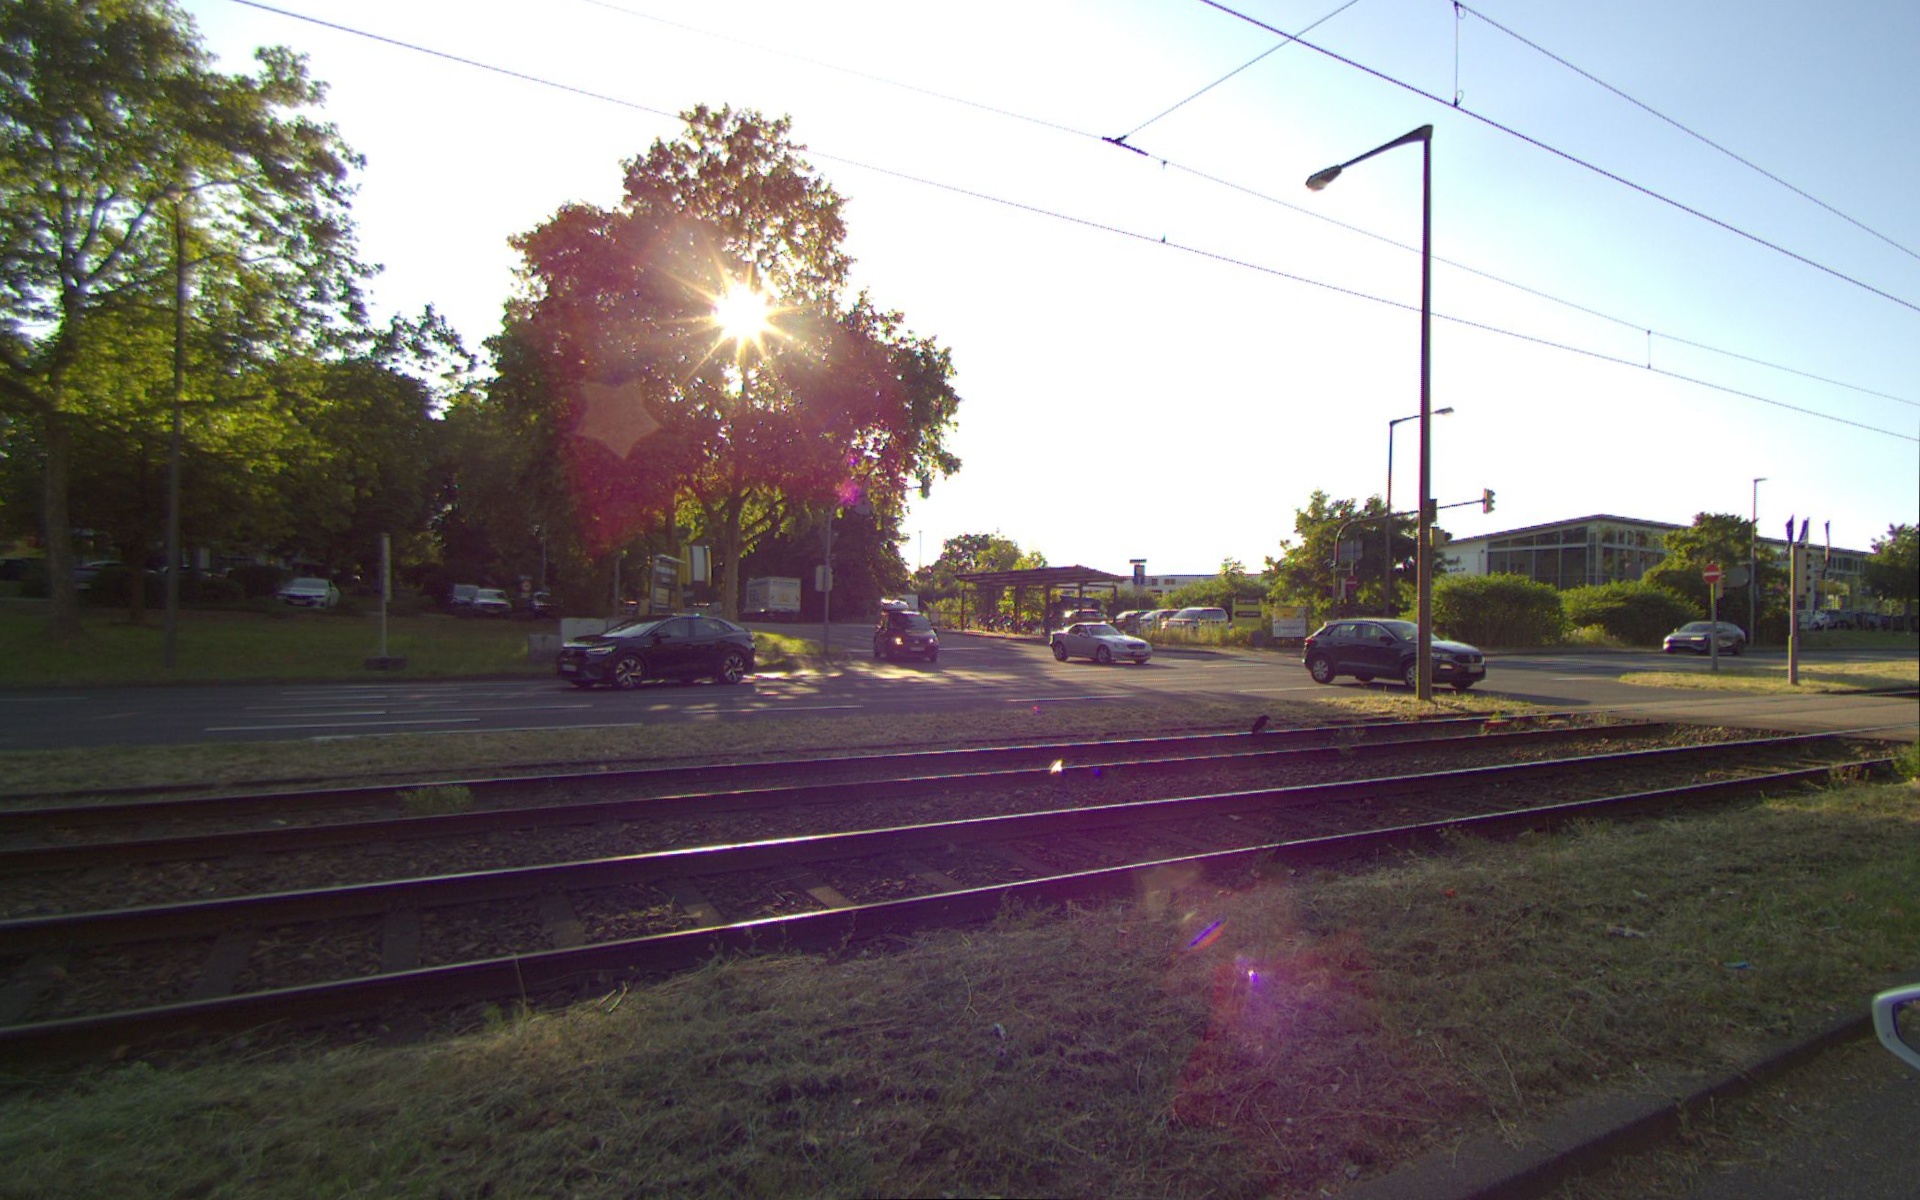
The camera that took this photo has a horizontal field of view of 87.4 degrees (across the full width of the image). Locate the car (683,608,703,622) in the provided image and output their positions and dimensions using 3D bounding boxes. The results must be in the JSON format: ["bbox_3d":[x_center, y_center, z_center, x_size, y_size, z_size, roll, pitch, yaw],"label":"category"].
[{"bbox_3d":[-33.367,1.816,125.446,1.887,1.602,4.036,2,0,-21],"label":"car"}]

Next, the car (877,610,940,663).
[{"bbox_3d":[-1.855,1.219,34.914,1.809,1.656,4.305,1,0,-8],"label":"car"}]

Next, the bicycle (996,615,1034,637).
[{"bbox_3d":[3.080,1.465,56.416,2.004,1.119,0.777,2,0,-30],"label":"bicycle"}]

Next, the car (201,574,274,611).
[{"bbox_3d":[-32.102,-0.326,44.759,1.916,1.530,4.071,2,0,-26],"label":"car"}]

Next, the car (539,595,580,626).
[{"bbox_3d":[-20.429,0.516,51.140,1.604,1.477,3.878,2,0,-27],"label":"car"}]

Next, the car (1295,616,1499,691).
[{"bbox_3d":[9.945,1.169,23.190,1.694,1.581,4.131,1,-2,-31],"label":"car"}]

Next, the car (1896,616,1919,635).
[{"bbox_3d":[88.393,2.375,91.747,1.725,1.642,3.962,1,0,-34],"label":"car"}]

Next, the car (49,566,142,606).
[{"bbox_3d":[-36.076,-0.561,42.023,1.916,1.530,4.071,2,0,-26],"label":"car"}]

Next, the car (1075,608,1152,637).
[{"bbox_3d":[8.831,1.274,57.802,4.123,1.604,1.853,1,0,-30],"label":"car"}]

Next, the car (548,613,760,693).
[{"bbox_3d":[-6.625,1.117,22.150,1.709,1.565,4.319,0,-2,36],"label":"car"}]

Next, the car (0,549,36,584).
[{"bbox_3d":[-53.848,-1.888,56.383,2.274,1.875,5.220,2,0,-36],"label":"car"}]

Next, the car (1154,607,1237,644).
[{"bbox_3d":[12.373,1.318,52.739,4.123,1.846,1.853,1,0,-30],"label":"car"}]

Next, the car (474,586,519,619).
[{"bbox_3d":[-22.924,0.104,49.591,1.916,1.530,4.071,2,0,-26],"label":"car"}]

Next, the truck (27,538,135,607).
[{"bbox_3d":[-44.502,-1.347,51.067,2.468,3.209,6.187,2,0,-26],"label":"truck"}]

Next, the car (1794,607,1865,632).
[{"bbox_3d":[65.190,1.433,75.375,3.940,1.727,1.735,1,0,40],"label":"car"}]

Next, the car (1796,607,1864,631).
[{"bbox_3d":[68.374,1.481,78.987,3.940,1.840,1.735,1,0,40],"label":"car"}]

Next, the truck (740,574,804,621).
[{"bbox_3d":[-15.037,-0.238,79.792,2.782,3.520,8.291,1,0,-27],"label":"truck"}]

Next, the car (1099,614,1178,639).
[{"bbox_3d":[9.950,1.478,55.871,4.123,1.284,1.853,1,0,-30],"label":"car"}]

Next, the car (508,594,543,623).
[{"bbox_3d":[-26.236,0.496,60.734,1.836,1.637,4.036,2,0,-23],"label":"car"}]

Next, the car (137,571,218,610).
[{"bbox_3d":[-33.945,-0.399,43.686,1.916,1.530,4.071,2,0,-26],"label":"car"}]

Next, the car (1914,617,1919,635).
[{"bbox_3d":[91.308,2.492,93.027,1.725,1.642,3.962,1,0,-34],"label":"car"}]

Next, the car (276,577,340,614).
[{"bbox_3d":[-29.421,-0.225,45.441,1.916,1.530,4.071,2,0,-26],"label":"car"}]

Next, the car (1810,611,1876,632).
[{"bbox_3d":[72.000,1.737,81.948,3.940,1.577,1.735,1,0,40],"label":"car"}]

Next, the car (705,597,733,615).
[{"bbox_3d":[-22.809,0.548,94.890,1.711,1.603,4.028,1,0,-27],"label":"car"}]

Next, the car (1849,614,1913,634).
[{"bbox_3d":[79.624,2.055,86.897,3.940,1.577,1.735,1,0,40],"label":"car"}]

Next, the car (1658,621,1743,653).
[{"bbox_3d":[37.195,1.851,50.440,4.120,1.501,1.854,1,0,-29],"label":"car"}]

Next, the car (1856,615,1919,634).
[{"bbox_3d":[81.777,2.143,88.515,1.728,1.577,3.957,1,0,-37],"label":"car"}]

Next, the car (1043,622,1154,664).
[{"bbox_3d":[4.554,1.405,33.467,1.595,1.311,3.950,1,-2,-30],"label":"car"}]

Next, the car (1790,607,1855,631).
[{"bbox_3d":[69.336,1.498,80.832,3.940,1.840,1.735,1,0,40],"label":"car"}]

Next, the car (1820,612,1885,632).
[{"bbox_3d":[74.219,1.833,83.616,3.940,1.577,1.735,1,0,40],"label":"car"}]

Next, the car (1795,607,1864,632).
[{"bbox_3d":[66.736,1.483,77.175,3.940,1.727,1.735,1,0,40],"label":"car"}]

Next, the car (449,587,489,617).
[{"bbox_3d":[-28.562,0.119,58.497,1.836,1.637,4.036,2,0,-23],"label":"car"}]

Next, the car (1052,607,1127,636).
[{"bbox_3d":[7.727,1.281,59.997,4.123,1.604,1.968,1,0,-30],"label":"car"}]

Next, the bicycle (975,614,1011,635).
[{"bbox_3d":[1.939,1.442,59.052,2.004,1.119,0.777,2,0,-30],"label":"bicycle"}]

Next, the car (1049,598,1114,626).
[{"bbox_3d":[9.298,0.924,76.668,4.715,2.041,1.853,1,0,-30],"label":"car"}]

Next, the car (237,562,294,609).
[{"bbox_3d":[-37.286,-0.757,54.010,2.138,2.334,4.369,2,0,-31],"label":"car"}]
